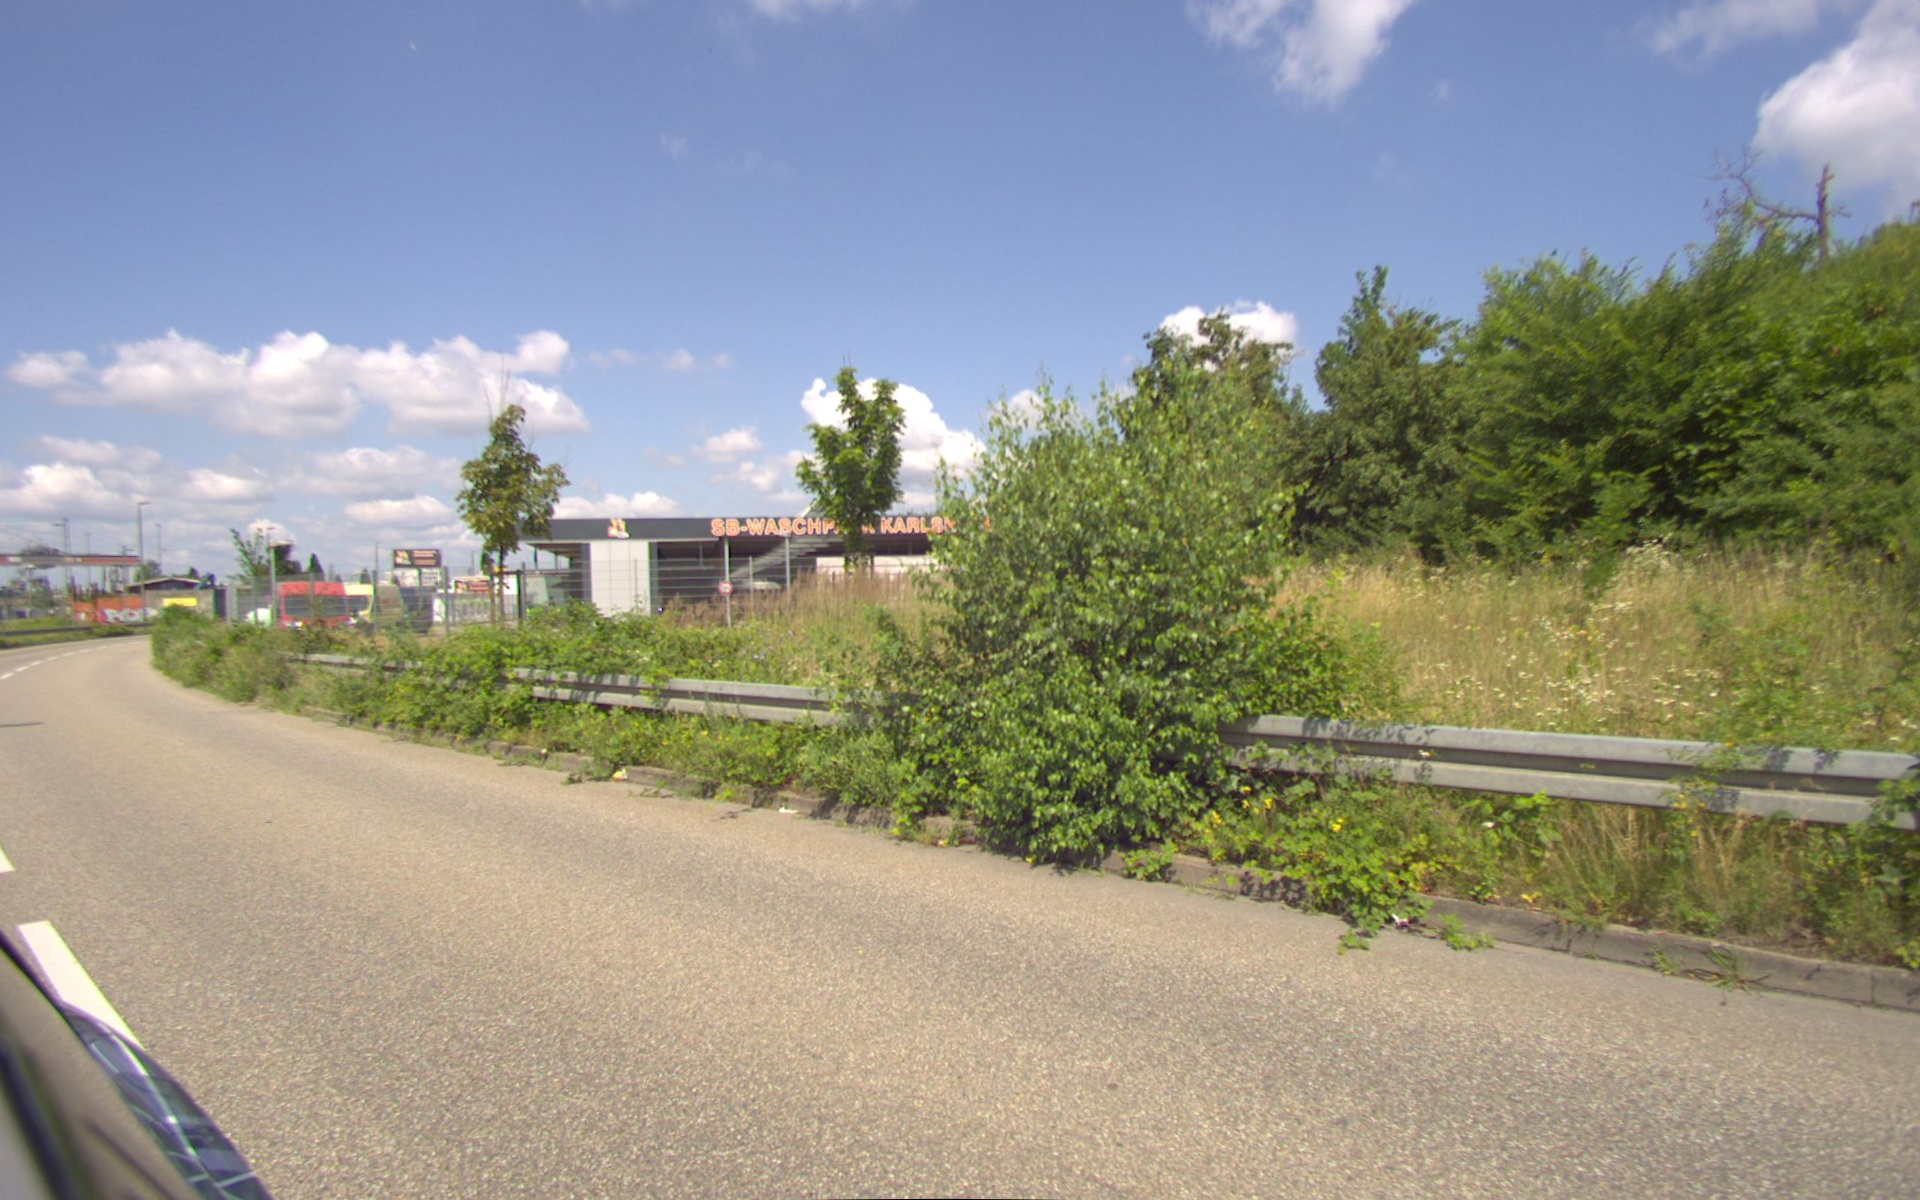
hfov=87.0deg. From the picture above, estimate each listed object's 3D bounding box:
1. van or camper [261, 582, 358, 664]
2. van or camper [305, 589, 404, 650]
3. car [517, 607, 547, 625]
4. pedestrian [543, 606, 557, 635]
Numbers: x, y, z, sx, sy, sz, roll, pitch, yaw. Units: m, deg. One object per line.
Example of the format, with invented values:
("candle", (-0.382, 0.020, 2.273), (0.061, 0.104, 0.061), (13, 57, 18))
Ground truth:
("van or camper", (-22.066, 0.781, 34.203), (2.160, 2.533, 5.713), (2, -2, -39))
("van or camper", (-26.309, 0.774, 44.216), (2.211, 2.443, 5.676), (-1, 0, -15))
("car", (-39.783, 1.491, 94.141), (1.890, 1.493, 4.311), (-2, 1, -15))
("pedestrian", (-25.429, 1.286, 62.767), (0.683, 1.762, 0.747), (-1, 0, -16))
